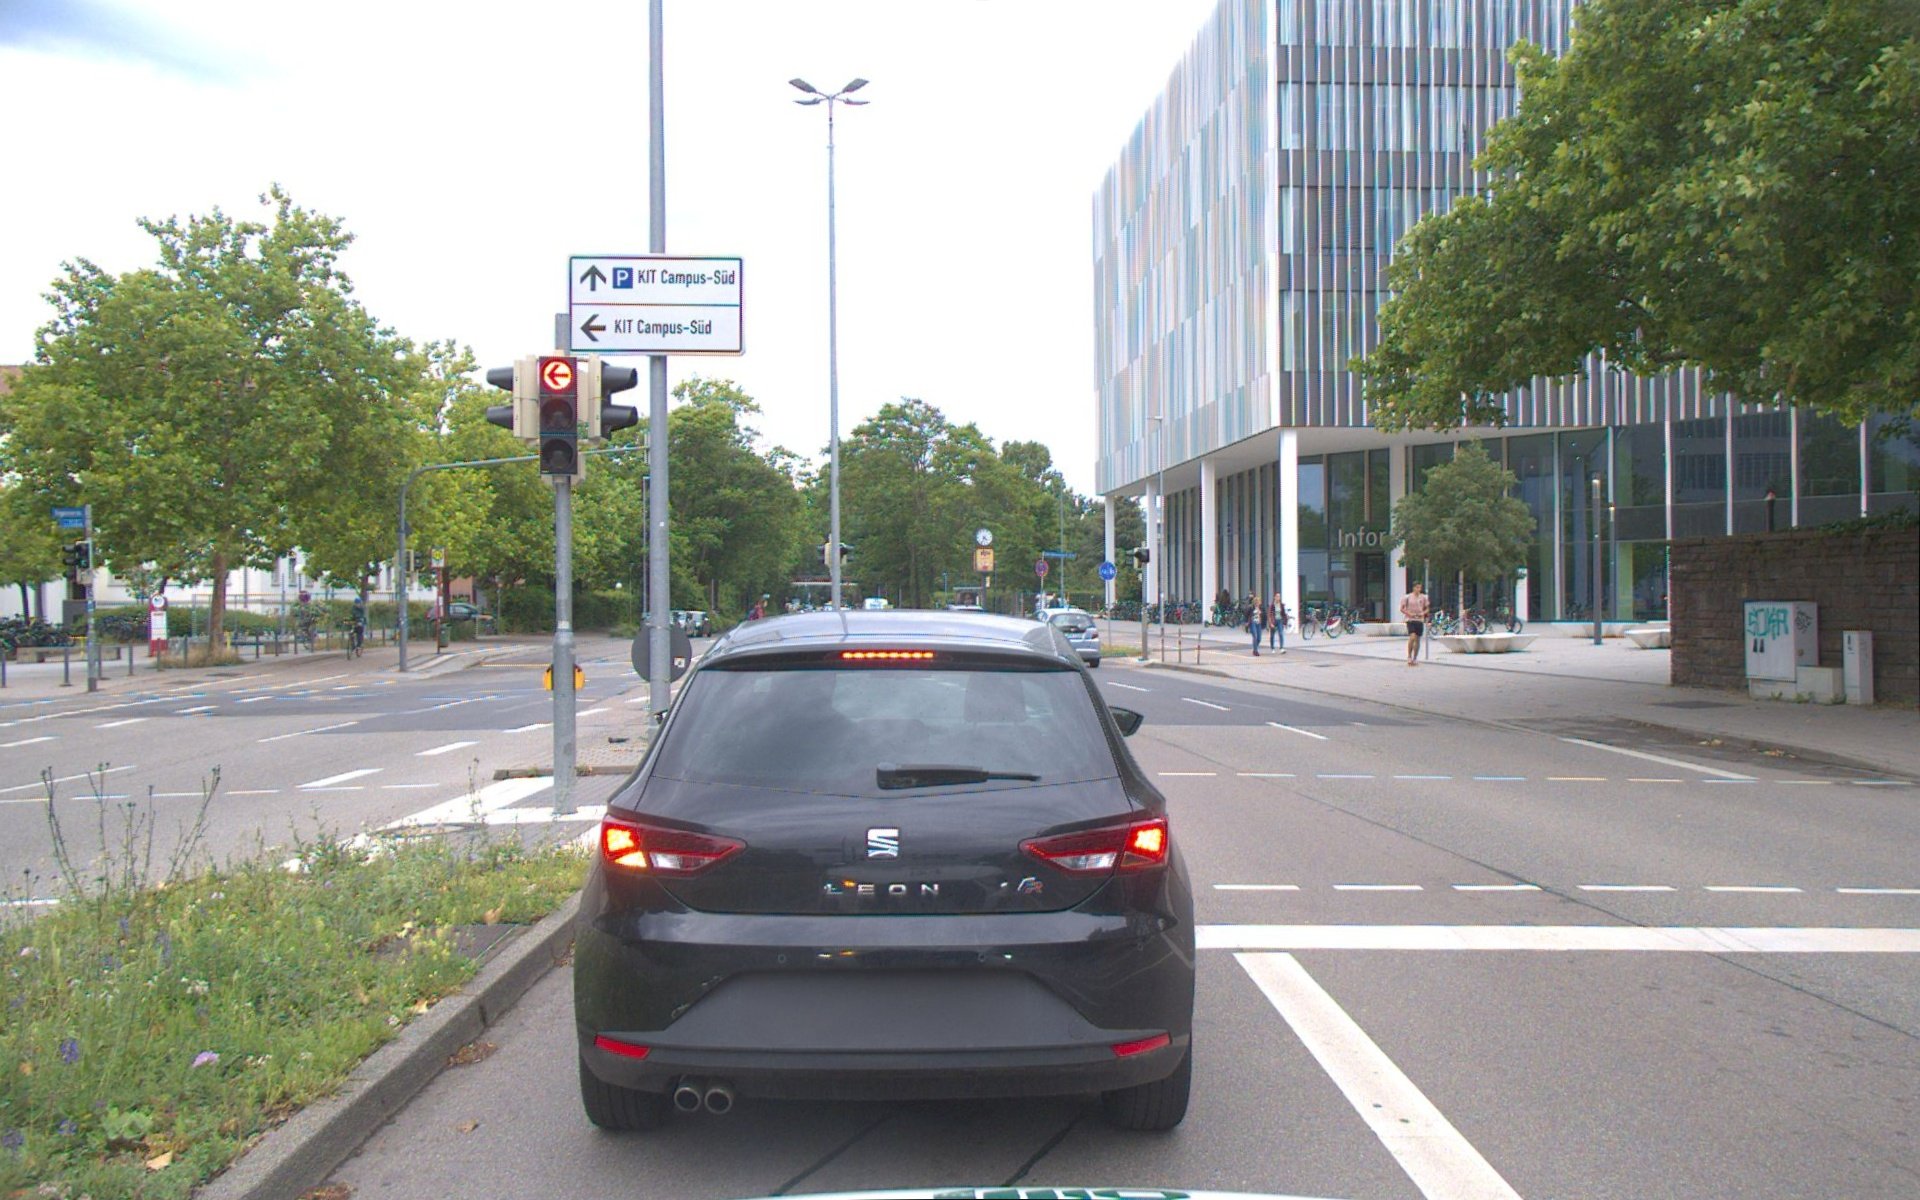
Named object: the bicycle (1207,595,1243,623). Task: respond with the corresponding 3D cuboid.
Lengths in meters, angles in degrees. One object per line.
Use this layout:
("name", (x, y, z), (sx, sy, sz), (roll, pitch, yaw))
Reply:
("bicycle", (12.475, 0.417, 77.906), (1.758, 1.232, 0.563), (-2, 0, -35))

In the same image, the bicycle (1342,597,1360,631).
("bicycle", (15.285, 0.529, 64.609), (0.515, 1.275, 1.667), (-2, 0, 17))

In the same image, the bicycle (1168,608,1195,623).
("bicycle", (11.544, 0.820, 86.148), (1.345, 0.717, 0.489), (-2, 0, 8))

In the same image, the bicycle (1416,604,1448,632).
("bicycle", (17.564, 0.662, 61.569), (0.682, 0.963, 1.981), (-2, 1, 29))

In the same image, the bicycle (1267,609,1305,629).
("bicycle", (13.786, 0.794, 69.874), (1.450, 0.761, 0.565), (-2, 0, -4))

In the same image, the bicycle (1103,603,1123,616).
("bicycle", (9.911, 0.606, 106.995), (1.218, 0.837, 0.479), (2, -1, -23))

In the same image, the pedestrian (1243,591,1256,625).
("pedestrian", (12.044, 0.322, 68.871), (0.462, 1.385, 0.446), (-2, 0, 9))

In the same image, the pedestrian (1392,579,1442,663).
("pedestrian", (10.129, 0.456, 36.708), (0.830, 1.795, 0.767), (-2, 0, -1))

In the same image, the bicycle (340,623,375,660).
("bicycle", (-17.725, 1.207, 48.684), (0.478, 1.023, 1.589), (1, 1, -1))

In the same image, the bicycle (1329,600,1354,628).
("bicycle", (15.536, 0.559, 67.406), (0.607, 1.064, 1.704), (-2, 1, 25))

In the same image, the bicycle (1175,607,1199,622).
("bicycle", (12.041, 0.766, 87.730), (1.246, 0.717, 0.485), (-2, 0, 6))

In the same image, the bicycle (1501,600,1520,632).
("bicycle", (19.614, 0.574, 58.960), (0.609, 1.074, 1.950), (-2, 1, 19))

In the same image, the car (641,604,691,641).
("car", (-15.285, 1.138, 86.066), (1.868, 1.747, 3.999), (-2, 1, -1))

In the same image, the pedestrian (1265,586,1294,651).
("pedestrian", (8.897, 0.510, 46.108), (0.673, 1.812, 0.677), (0, 0, -1))

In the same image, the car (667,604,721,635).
("car", (-15.372, 1.112, 95.856), (1.721, 1.615, 4.004), (-2, 1, 12))

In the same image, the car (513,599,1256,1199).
("car", (-0.129, 0.744, 5.736), (1.717, 1.457, 3.770), (1, 0, 1))

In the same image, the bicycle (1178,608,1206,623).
("bicycle", (11.830, 0.796, 84.356), (1.346, 0.717, 0.416), (-2, 0, 2))

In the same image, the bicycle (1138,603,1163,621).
("bicycle", (10.606, 0.666, 91.999), (1.357, 0.958, 0.488), (-1, 0, 6))

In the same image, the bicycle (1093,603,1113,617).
("bicycle", (9.415, 0.664, 109.085), (1.241, 0.863, 0.479), (2, -1, -23))

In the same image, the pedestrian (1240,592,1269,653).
("pedestrian", (8.202, 0.617, 46.018), (0.673, 1.668, 0.632), (1, 0, -1))

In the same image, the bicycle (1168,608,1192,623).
("bicycle", (11.578, 0.798, 87.041), (1.213, 0.717, 0.489), (-2, 0, 8))

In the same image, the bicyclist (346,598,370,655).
("bicyclist", (-17.720, 0.784, 48.675), (0.481, 1.653, 0.588), (1, 1, -1))

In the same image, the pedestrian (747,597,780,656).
("pedestrian", (-5.525, 0.752, 46.517), (0.858, 1.614, 0.542), (-2, 0, -8))

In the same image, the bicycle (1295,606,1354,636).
("bicycle", (12.419, 0.707, 56.368), (1.860, 0.914, 0.693), (-2, 0, -22))

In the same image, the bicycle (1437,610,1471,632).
("bicycle", (18.194, 0.760, 60.906), (1.515, 0.728, 0.511), (-3, 1, -44))

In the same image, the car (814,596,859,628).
("car", (-6.010, 0.570, 80.172), (1.749, 1.488, 3.860), (0, 0, -11))

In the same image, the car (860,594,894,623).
("car", (-6.020, 0.568, 119.519), (1.930, 2.007, 4.333), (1, 0, -10))

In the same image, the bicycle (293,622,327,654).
("bicycle", (-23.229, 1.344, 59.127), (0.596, 1.079, 2.041), (-2, 0, -7))

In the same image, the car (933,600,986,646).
("car", (-0.056, 0.834, 62.867), (1.869, 1.653, 4.489), (1, 0, -2))

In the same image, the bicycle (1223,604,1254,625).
("bicycle", (12.833, 0.666, 76.204), (1.421, 0.872, 0.361), (-2, 0, -28))

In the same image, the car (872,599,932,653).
("car", (-1.935, 0.820, 54.852), (1.845, 1.628, 4.445), (2, 0, -2))

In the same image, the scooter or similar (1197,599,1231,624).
("scooter or similar", (12.067, 0.545, 78.477), (1.655, 1.126, 0.493), (-2, 0, -33))

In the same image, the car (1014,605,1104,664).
("car", (2.579, 0.886, 43.780), (1.636, 1.492, 3.652), (0, 0, -9))

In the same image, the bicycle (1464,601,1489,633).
("bicycle", (18.708, 0.608, 59.871), (0.792, 1.074, 1.950), (-2, 1, 19))
